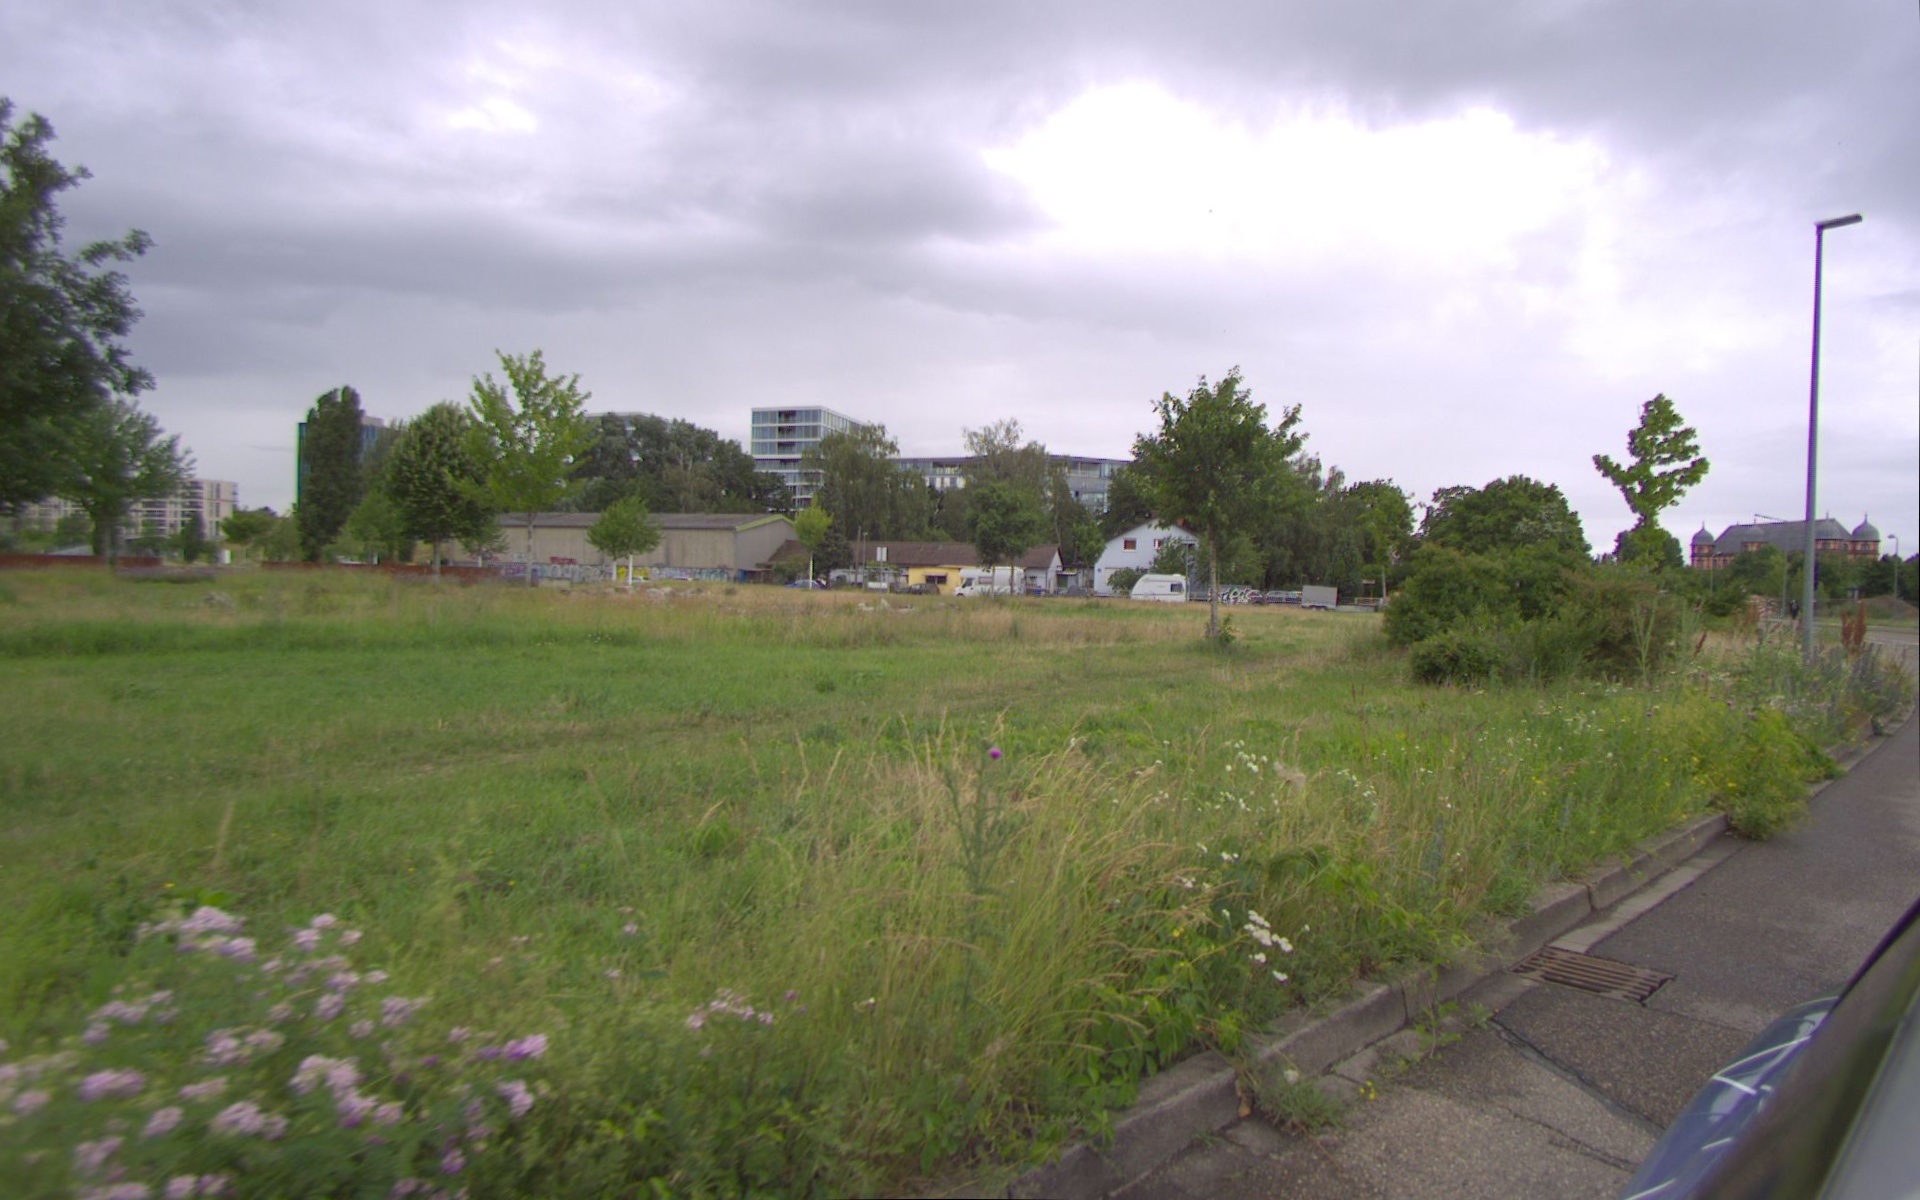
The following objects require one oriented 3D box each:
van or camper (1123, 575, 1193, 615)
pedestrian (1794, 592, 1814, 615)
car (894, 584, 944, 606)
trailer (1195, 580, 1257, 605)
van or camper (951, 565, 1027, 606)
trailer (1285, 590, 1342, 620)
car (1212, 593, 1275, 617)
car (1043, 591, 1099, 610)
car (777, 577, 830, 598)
[{"bbox_3d":[15.760,-0.401,80.449,5.115,2.868,2.400,2,0,20],"label":"van or camper"},{"bbox_3d":[67.971,0.310,81.474,0.835,1.805,1.071,2,0,18],"label":"pedestrian"},{"bbox_3d":[-3.521,-0.438,87.068,3.884,1.594,1.987,2,-2,19],"label":"car"},{"bbox_3d":[18.500,-0.517,70.419,4.063,1.552,1.749,2,0,16],"label":"trailer"},{"bbox_3d":[2.438,-1.233,84.898,5.992,3.151,2.258,2,0,17],"label":"van or camper"},{"bbox_3d":[26.840,0.374,76.986,3.947,2.039,1.633,2,0,18],"label":"trailer"},{"bbox_3d":[21.885,0.384,78.166,4.533,1.660,1.988,2,0,18],"label":"car"},{"bbox_3d":[9.062,0.032,82.499,4.234,1.402,1.902,2,1,18],"label":"car"},{"bbox_3d":[-14.006,-1.095,90.696,4.229,1.594,1.987,2,-2,19],"label":"car"}]
